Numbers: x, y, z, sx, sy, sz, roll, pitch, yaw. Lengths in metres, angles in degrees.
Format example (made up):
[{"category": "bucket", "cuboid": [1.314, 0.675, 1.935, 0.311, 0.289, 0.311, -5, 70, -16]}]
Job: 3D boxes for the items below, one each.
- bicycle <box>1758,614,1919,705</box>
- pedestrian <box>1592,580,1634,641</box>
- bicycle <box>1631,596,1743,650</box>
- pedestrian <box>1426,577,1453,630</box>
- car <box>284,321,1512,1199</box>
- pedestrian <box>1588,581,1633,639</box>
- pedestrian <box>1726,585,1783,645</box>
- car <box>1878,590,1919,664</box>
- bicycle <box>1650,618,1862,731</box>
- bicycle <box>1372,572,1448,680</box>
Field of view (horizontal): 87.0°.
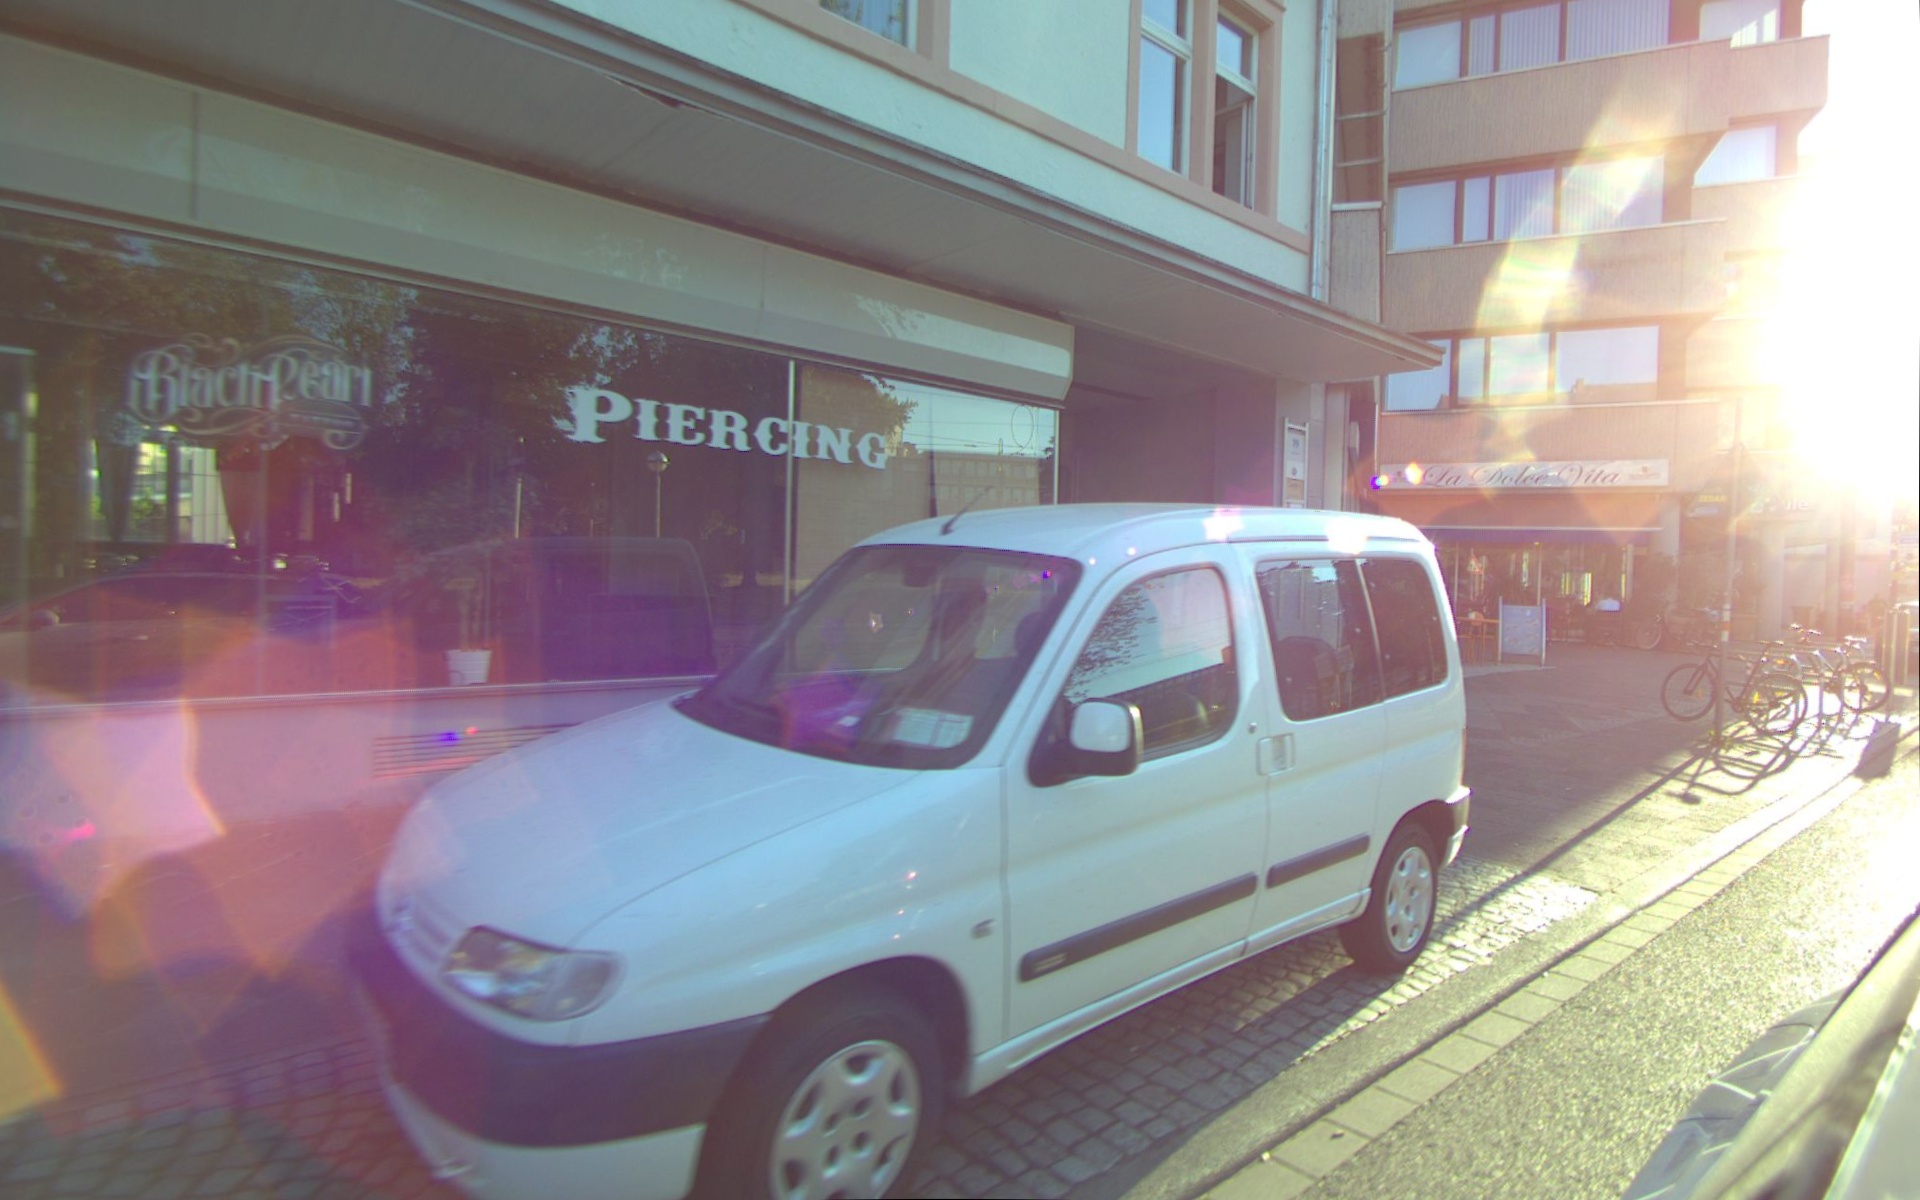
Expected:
[{"category": "bicycle", "cuboid": [11.930, 0.773, 13.726, 0.531, 1.002, 1.797, 4, 3, -8]}, {"category": "pedestrian", "cuboid": [14.613, 0.235, 22.645, 0.639, 1.312, 0.696, 4, 2, 40]}, {"category": "bicycle", "cuboid": [15.539, 0.487, 21.667, 1.862, 1.017, 0.457, 3, 3, 11]}, {"category": "pedestrian", "cuboid": [11.833, 0.084, 24.979, 0.552, 1.255, 0.609, 2, 0, 24]}, {"category": "car", "cuboid": [0.157, 0.454, 3.540, 4.020, 1.814, 1.796, 0, 2, -41]}, {"category": "pedestrian", "cuboid": [14.996, 0.228, 23.346, 0.528, 1.294, 0.706, 1, 2, -40]}, {"category": "pedestrian", "cuboid": [18.522, 0.340, 23.619, 0.752, 1.313, 0.707, 4, 1, 15]}, {"category": "car", "cuboid": [21.372, 0.579, 21.859, 3.850, 1.527, 1.794, 1, 0, -40]}, {"category": "bicycle", "cuboid": [8.803, 0.786, 11.293, 0.530, 1.002, 1.799, 3, 3, -18]}, {"category": "bicycle", "cuboid": [6.059, 0.305, 13.711, 0.408, 1.291, 1.663, 1, 4, 6]}]
